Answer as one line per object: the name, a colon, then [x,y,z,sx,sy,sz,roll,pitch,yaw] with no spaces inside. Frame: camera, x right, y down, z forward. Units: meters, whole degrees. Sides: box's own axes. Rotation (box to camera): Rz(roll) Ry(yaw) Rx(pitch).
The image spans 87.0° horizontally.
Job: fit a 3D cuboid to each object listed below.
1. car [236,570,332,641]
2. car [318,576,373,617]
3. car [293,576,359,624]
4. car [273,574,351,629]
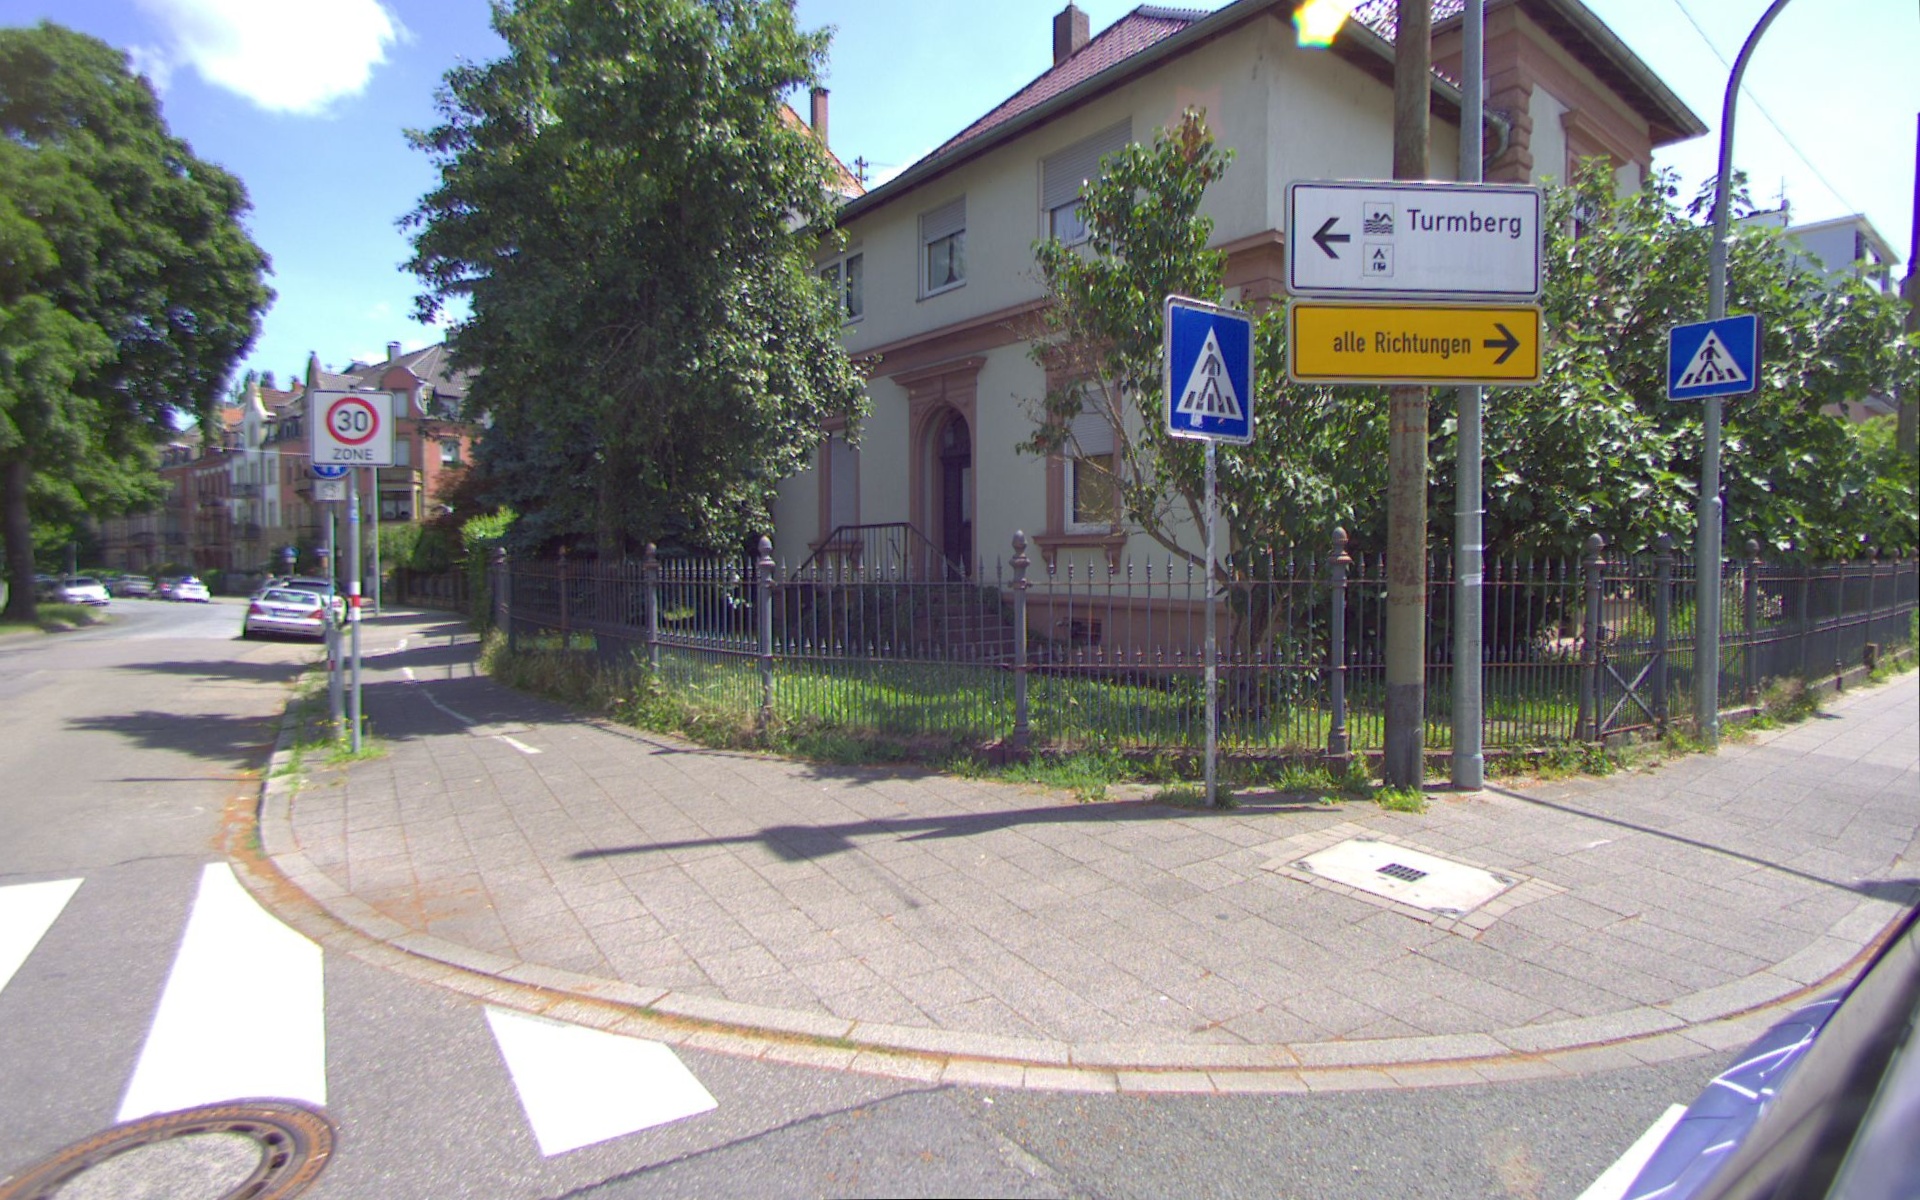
car: [-16.828,0.144,25.353,1.574,1.572,3.734,3,-2,-28]
car: [-23.924,-0.148,39.502,1.575,1.458,3.734,-3,1,-28]
car: [-21.412,-0.016,34.296,1.575,1.458,3.734,-3,1,-28]
car: [-19.039,0.031,29.848,1.575,1.458,3.734,-3,1,-28]
